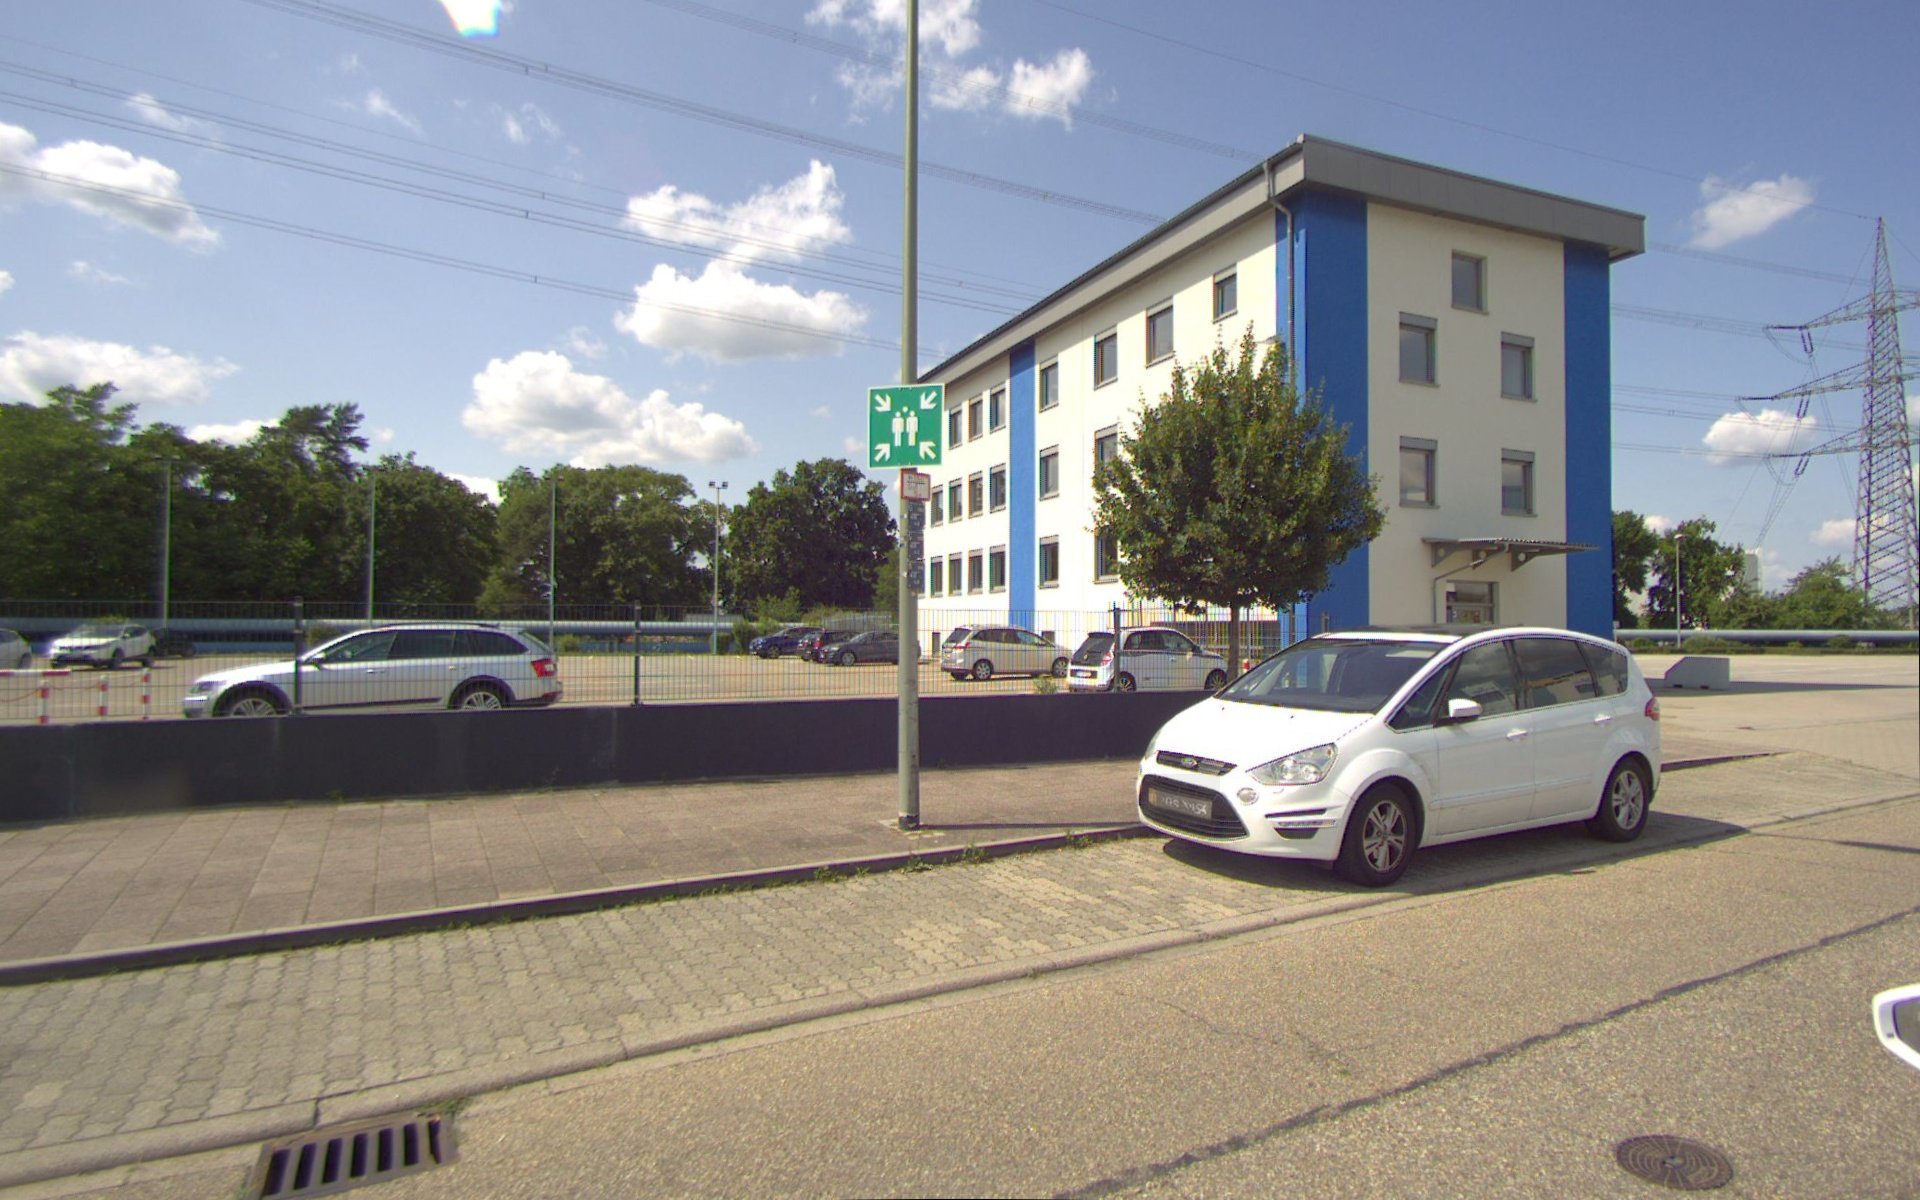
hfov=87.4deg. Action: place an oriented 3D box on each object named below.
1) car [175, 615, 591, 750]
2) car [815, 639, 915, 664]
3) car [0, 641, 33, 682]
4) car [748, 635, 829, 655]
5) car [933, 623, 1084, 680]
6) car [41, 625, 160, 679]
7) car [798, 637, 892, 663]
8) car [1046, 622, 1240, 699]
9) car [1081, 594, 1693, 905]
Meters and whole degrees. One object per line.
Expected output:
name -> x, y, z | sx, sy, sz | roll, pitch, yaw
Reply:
car -> -7.859, 1.087, 14.207 | 4.782, 1.658, 1.818 | 1, -3, -27
car -> -3.998, 2.154, 42.211 | 3.847, 0.981, 1.763 | 1, -3, -23
car -> -30.092, 1.873, 30.646 | 1.658, 1.246, 3.303 | 1, -3, -25
car -> -8.740, 2.303, 51.108 | 3.843, 0.981, 1.765 | 1, -2, -20
car -> 1.509, 1.576, 31.328 | 4.384, 1.676, 1.819 | 1, -2, -25
car -> -30.531, 1.817, 35.843 | 1.958, 1.808, 3.764 | 0, -2, -19
car -> -5.135, 2.221, 44.926 | 3.850, 1.090, 1.761 | 1, -3, -25
car -> 3.914, 1.267, 21.533 | 3.705, 1.526, 1.868 | 1, -2, -24
car -> 3.357, 0.887, 7.610 | 4.697, 1.731, 1.858 | 1, -1, -31
